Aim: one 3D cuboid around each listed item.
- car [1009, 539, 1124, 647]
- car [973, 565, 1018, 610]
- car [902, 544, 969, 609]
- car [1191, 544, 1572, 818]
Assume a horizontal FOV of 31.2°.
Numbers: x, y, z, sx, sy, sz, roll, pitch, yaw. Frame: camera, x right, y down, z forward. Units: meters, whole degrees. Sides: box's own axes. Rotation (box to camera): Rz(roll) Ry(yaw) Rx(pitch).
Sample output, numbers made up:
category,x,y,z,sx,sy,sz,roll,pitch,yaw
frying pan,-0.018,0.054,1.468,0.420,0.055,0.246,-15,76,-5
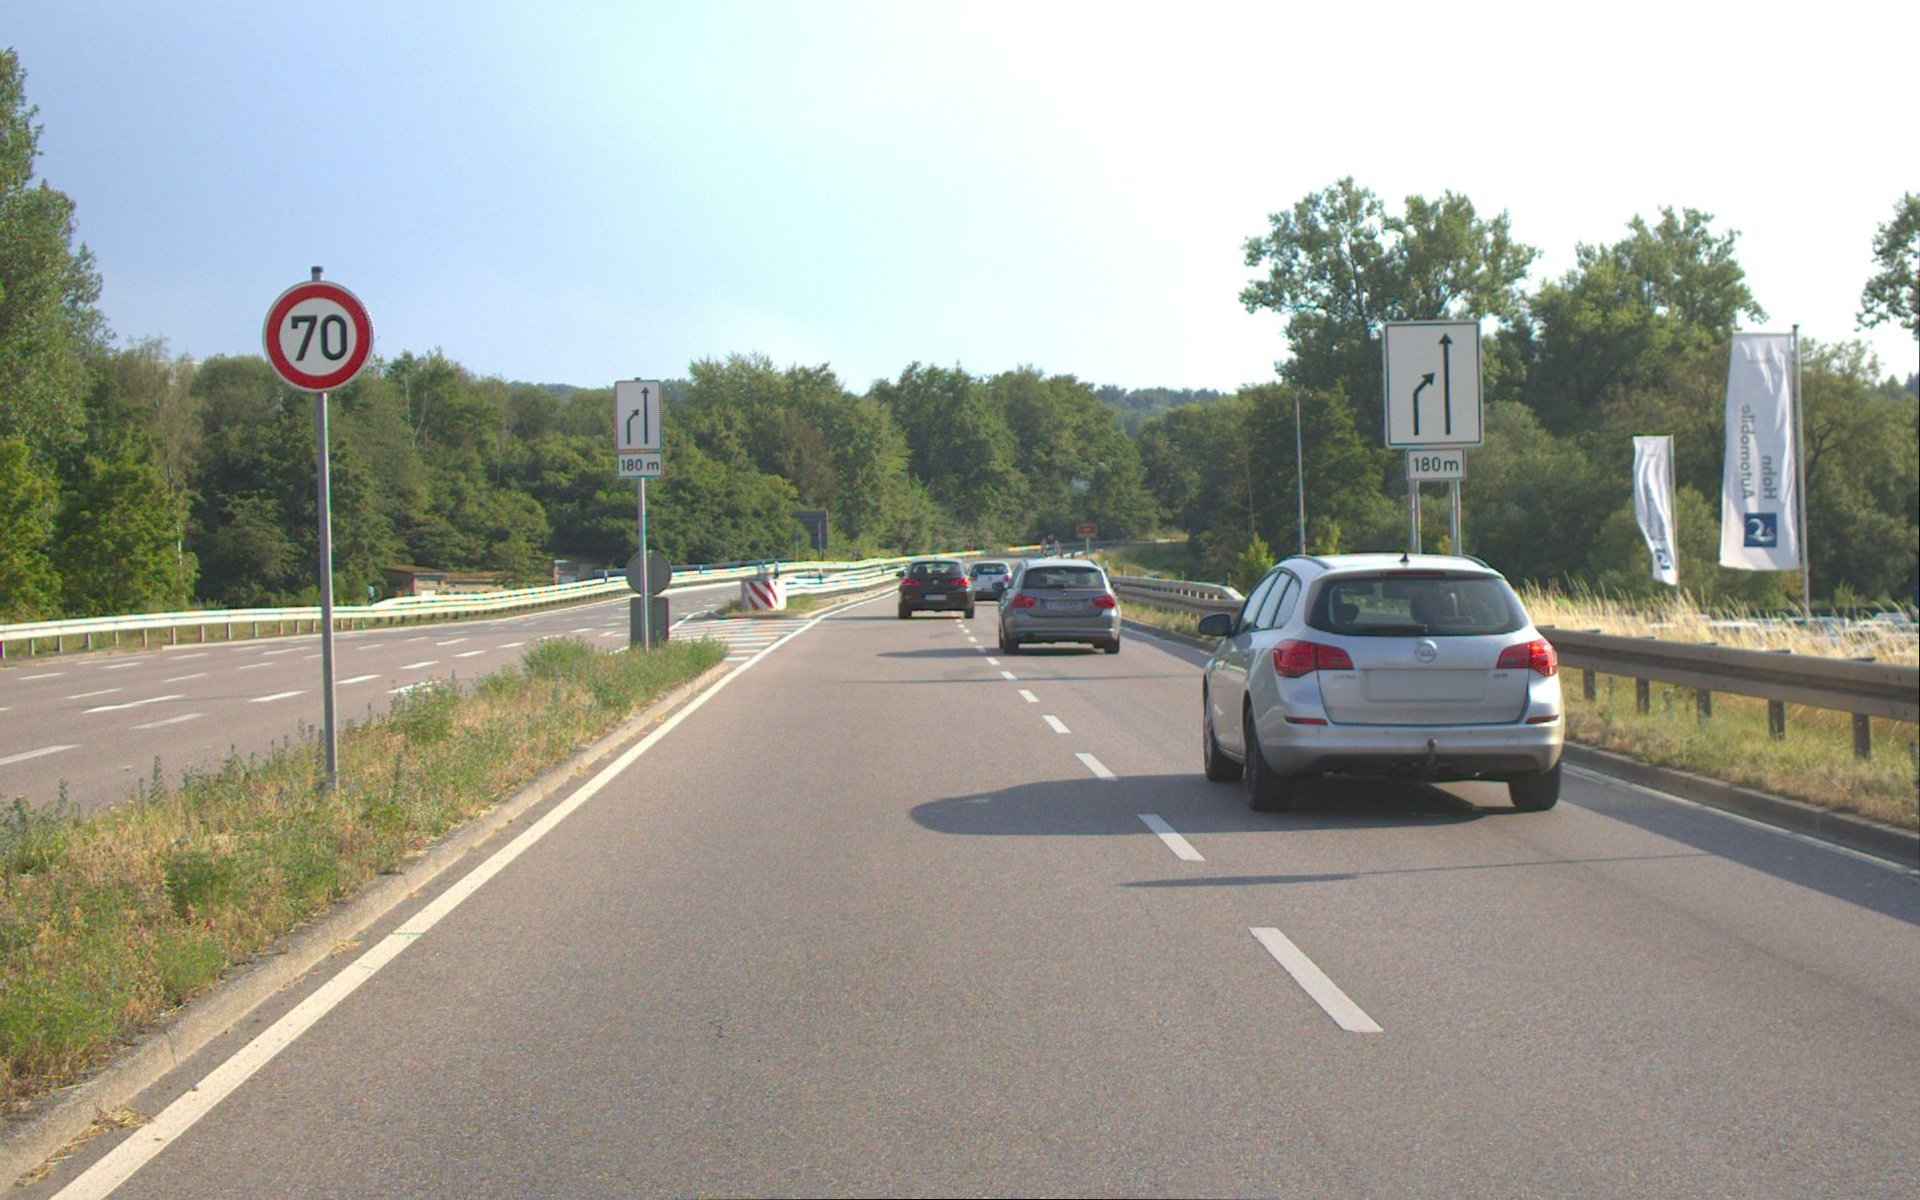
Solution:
category,x,y,z,sx,sy,sz,roll,pitch,yaw
car,1.600,-0.101,52.549,1.667,1.568,4.000,1,0,1
car,1.191,-0.418,114.536,1.492,1.471,3.358,0,0,1
car,-0.548,-0.531,80.753,1.492,1.471,3.358,0,0,1
car,2.432,0.447,20.740,1.809,1.481,4.000,0,0,0
